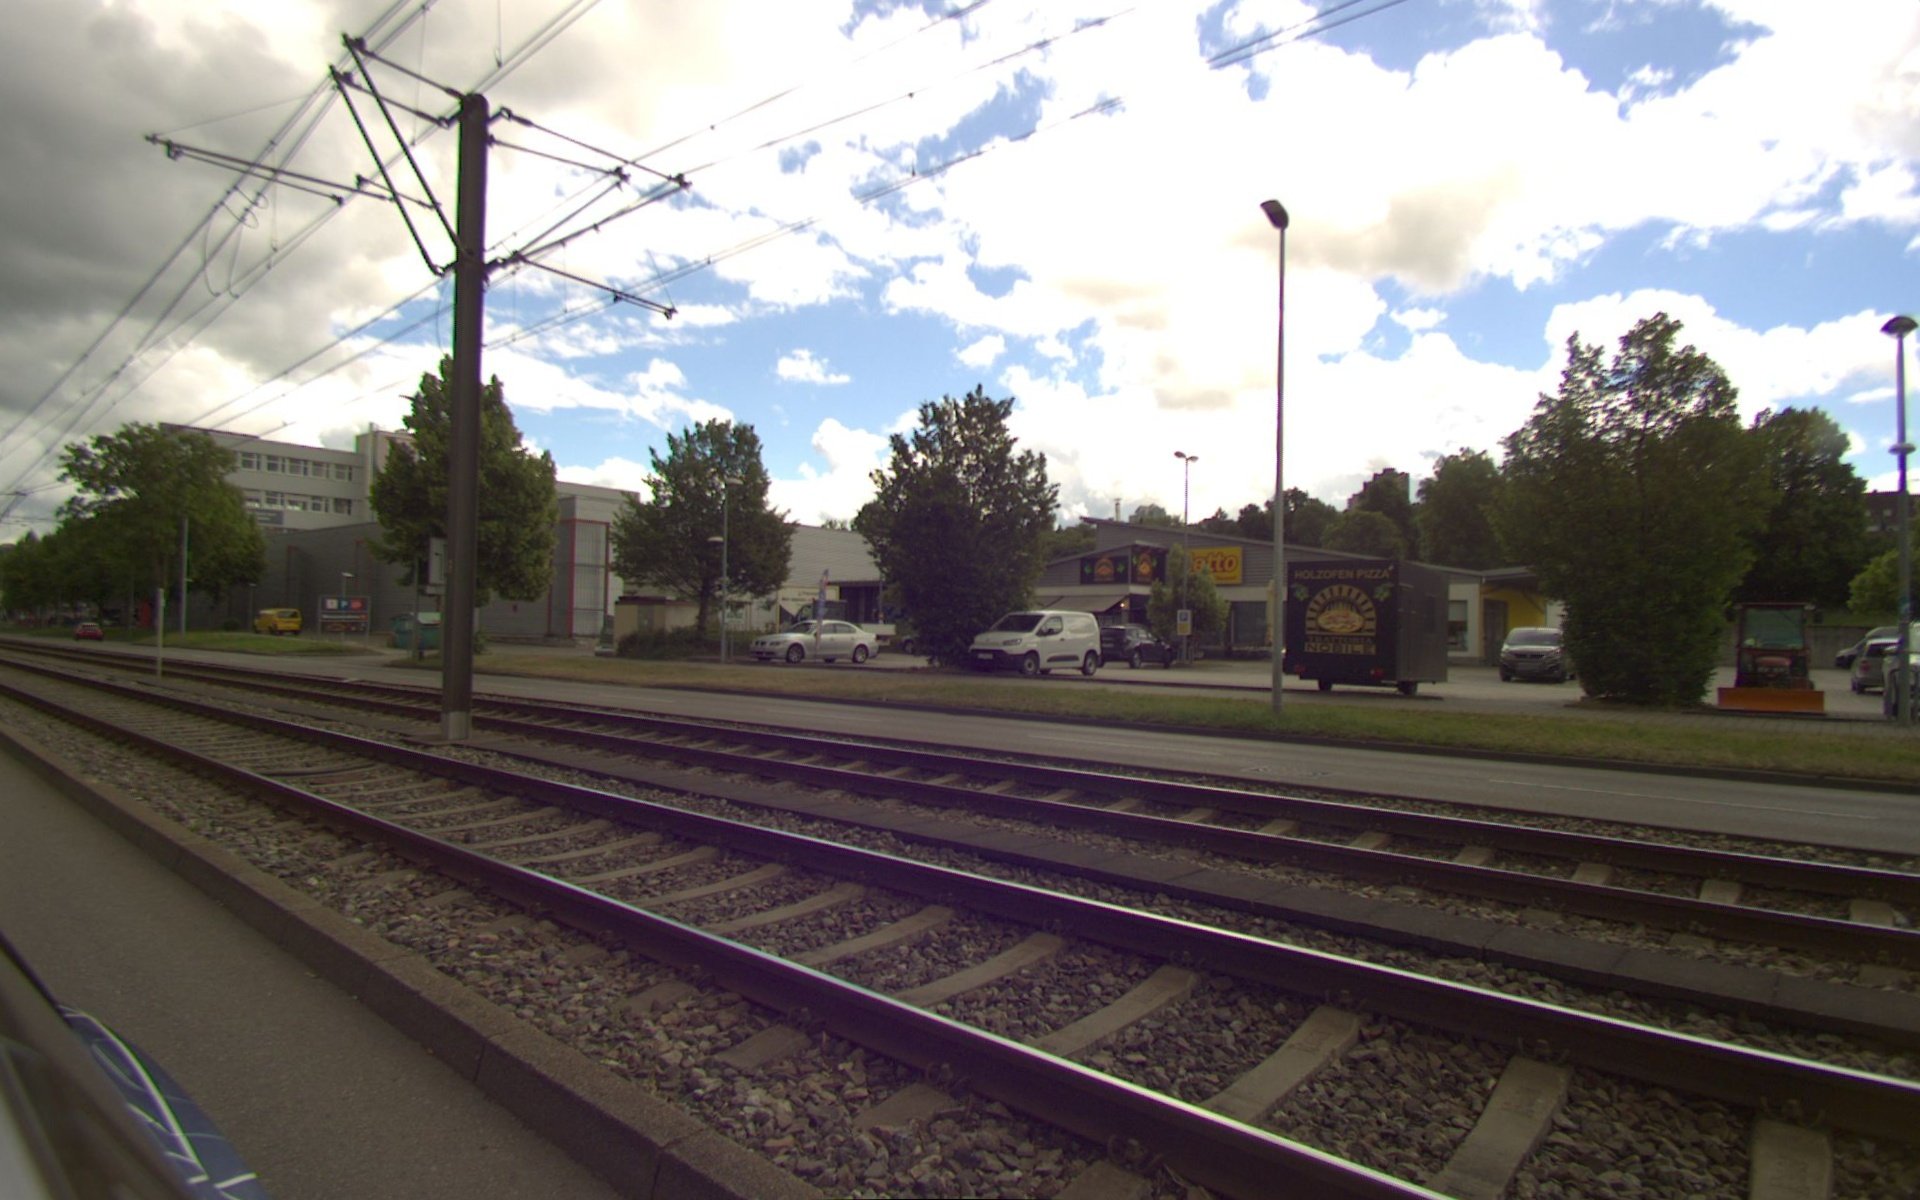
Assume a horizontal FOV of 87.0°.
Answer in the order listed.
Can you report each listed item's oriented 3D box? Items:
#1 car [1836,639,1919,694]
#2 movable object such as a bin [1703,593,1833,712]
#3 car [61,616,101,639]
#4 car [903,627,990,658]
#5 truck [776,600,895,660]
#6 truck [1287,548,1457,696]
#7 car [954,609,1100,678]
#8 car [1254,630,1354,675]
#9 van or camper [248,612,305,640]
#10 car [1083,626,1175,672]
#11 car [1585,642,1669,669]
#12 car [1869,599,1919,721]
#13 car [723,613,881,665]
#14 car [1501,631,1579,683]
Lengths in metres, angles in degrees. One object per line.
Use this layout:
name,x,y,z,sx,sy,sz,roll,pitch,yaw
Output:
car,26.884,1.892,29.425,1.676,1.483,3.710,-1,-3,34
movable object such as a bin,14.808,0.944,18.678,1.676,1.952,3.949,-1,-3,37
car,-70.143,2.225,80.731,3.996,1.785,1.774,-1,-2,39
car,-0.648,1.989,48.039,3.991,1.411,1.596,-1,-2,36
truck,-5.312,1.273,42.812,5.261,2.401,1.972,-1,-3,41
truck,8.885,0.509,21.688,2.373,2.843,3.948,-1,-3,38
car,1.914,1.188,27.857,1.993,1.740,4.178,-1,-3,39
car,13.528,2.044,39.705,2.465,1.652,3.881,-1,-3,40
van or camper,-51.881,1.979,76.789,5.235,2.029,2.083,-1,-2,38
car,6.573,1.884,39.023,1.873,1.666,3.949,-1,-3,38
car,35.599,2.956,54.082,3.588,1.344,1.455,-1,-3,41
car,16.080,0.949,16.190,1.875,1.811,3.950,-1,-3,36
car,-5.323,1.330,34.457,2.651,1.641,4.730,-2,-3,42
car,20.050,1.941,34.926,1.687,1.652,3.881,-1,-3,40
